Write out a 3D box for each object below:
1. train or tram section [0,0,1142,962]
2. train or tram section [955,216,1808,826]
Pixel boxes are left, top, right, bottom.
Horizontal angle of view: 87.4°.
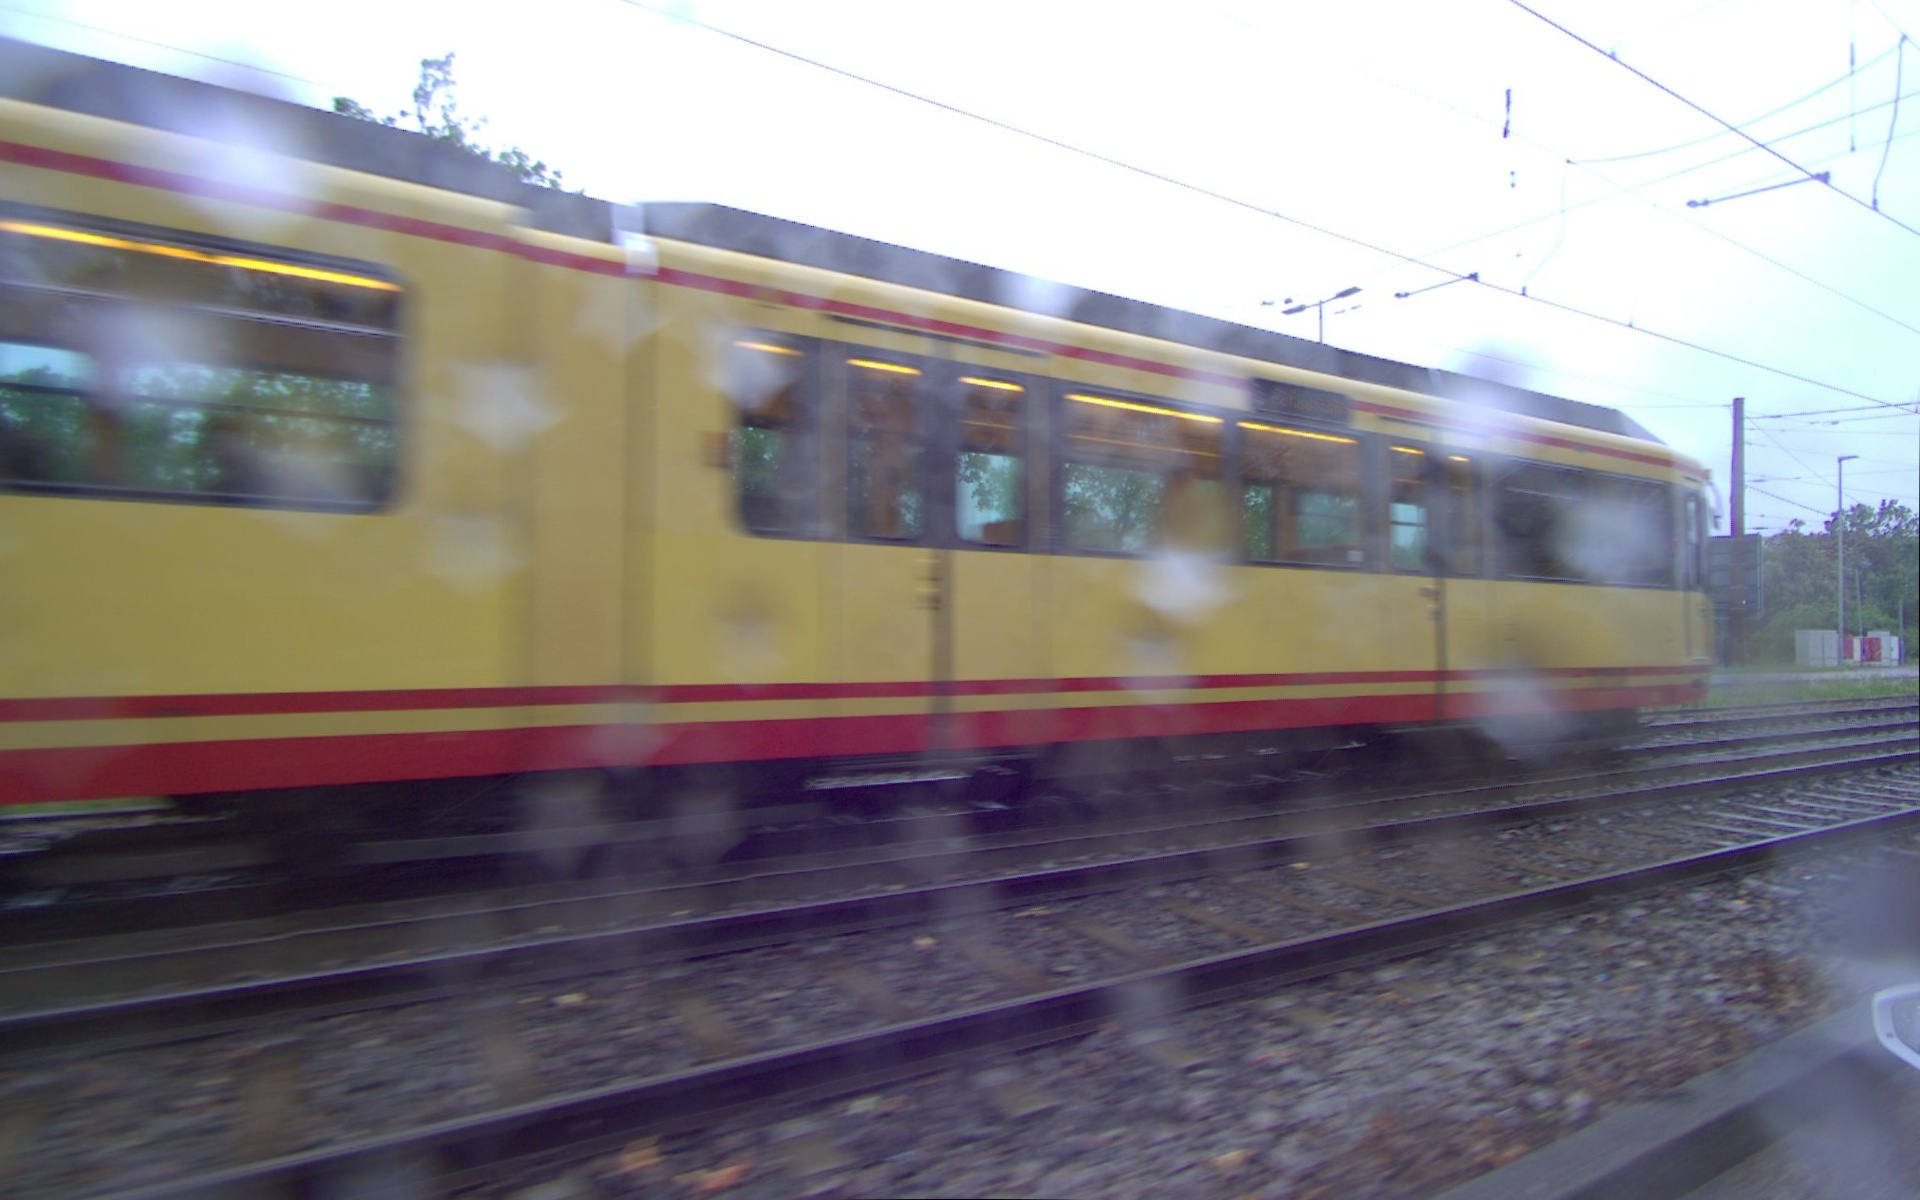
[{"bbox_3d":[-5.017,-0.716,4.731,12.869,4.204,2.792,2,-1,-31],"label":"train or tram section"},{"bbox_3d":[5.071,-0.363,10.697,10.149,4.204,2.797,2,-1,-30],"label":"train or tram section"}]
